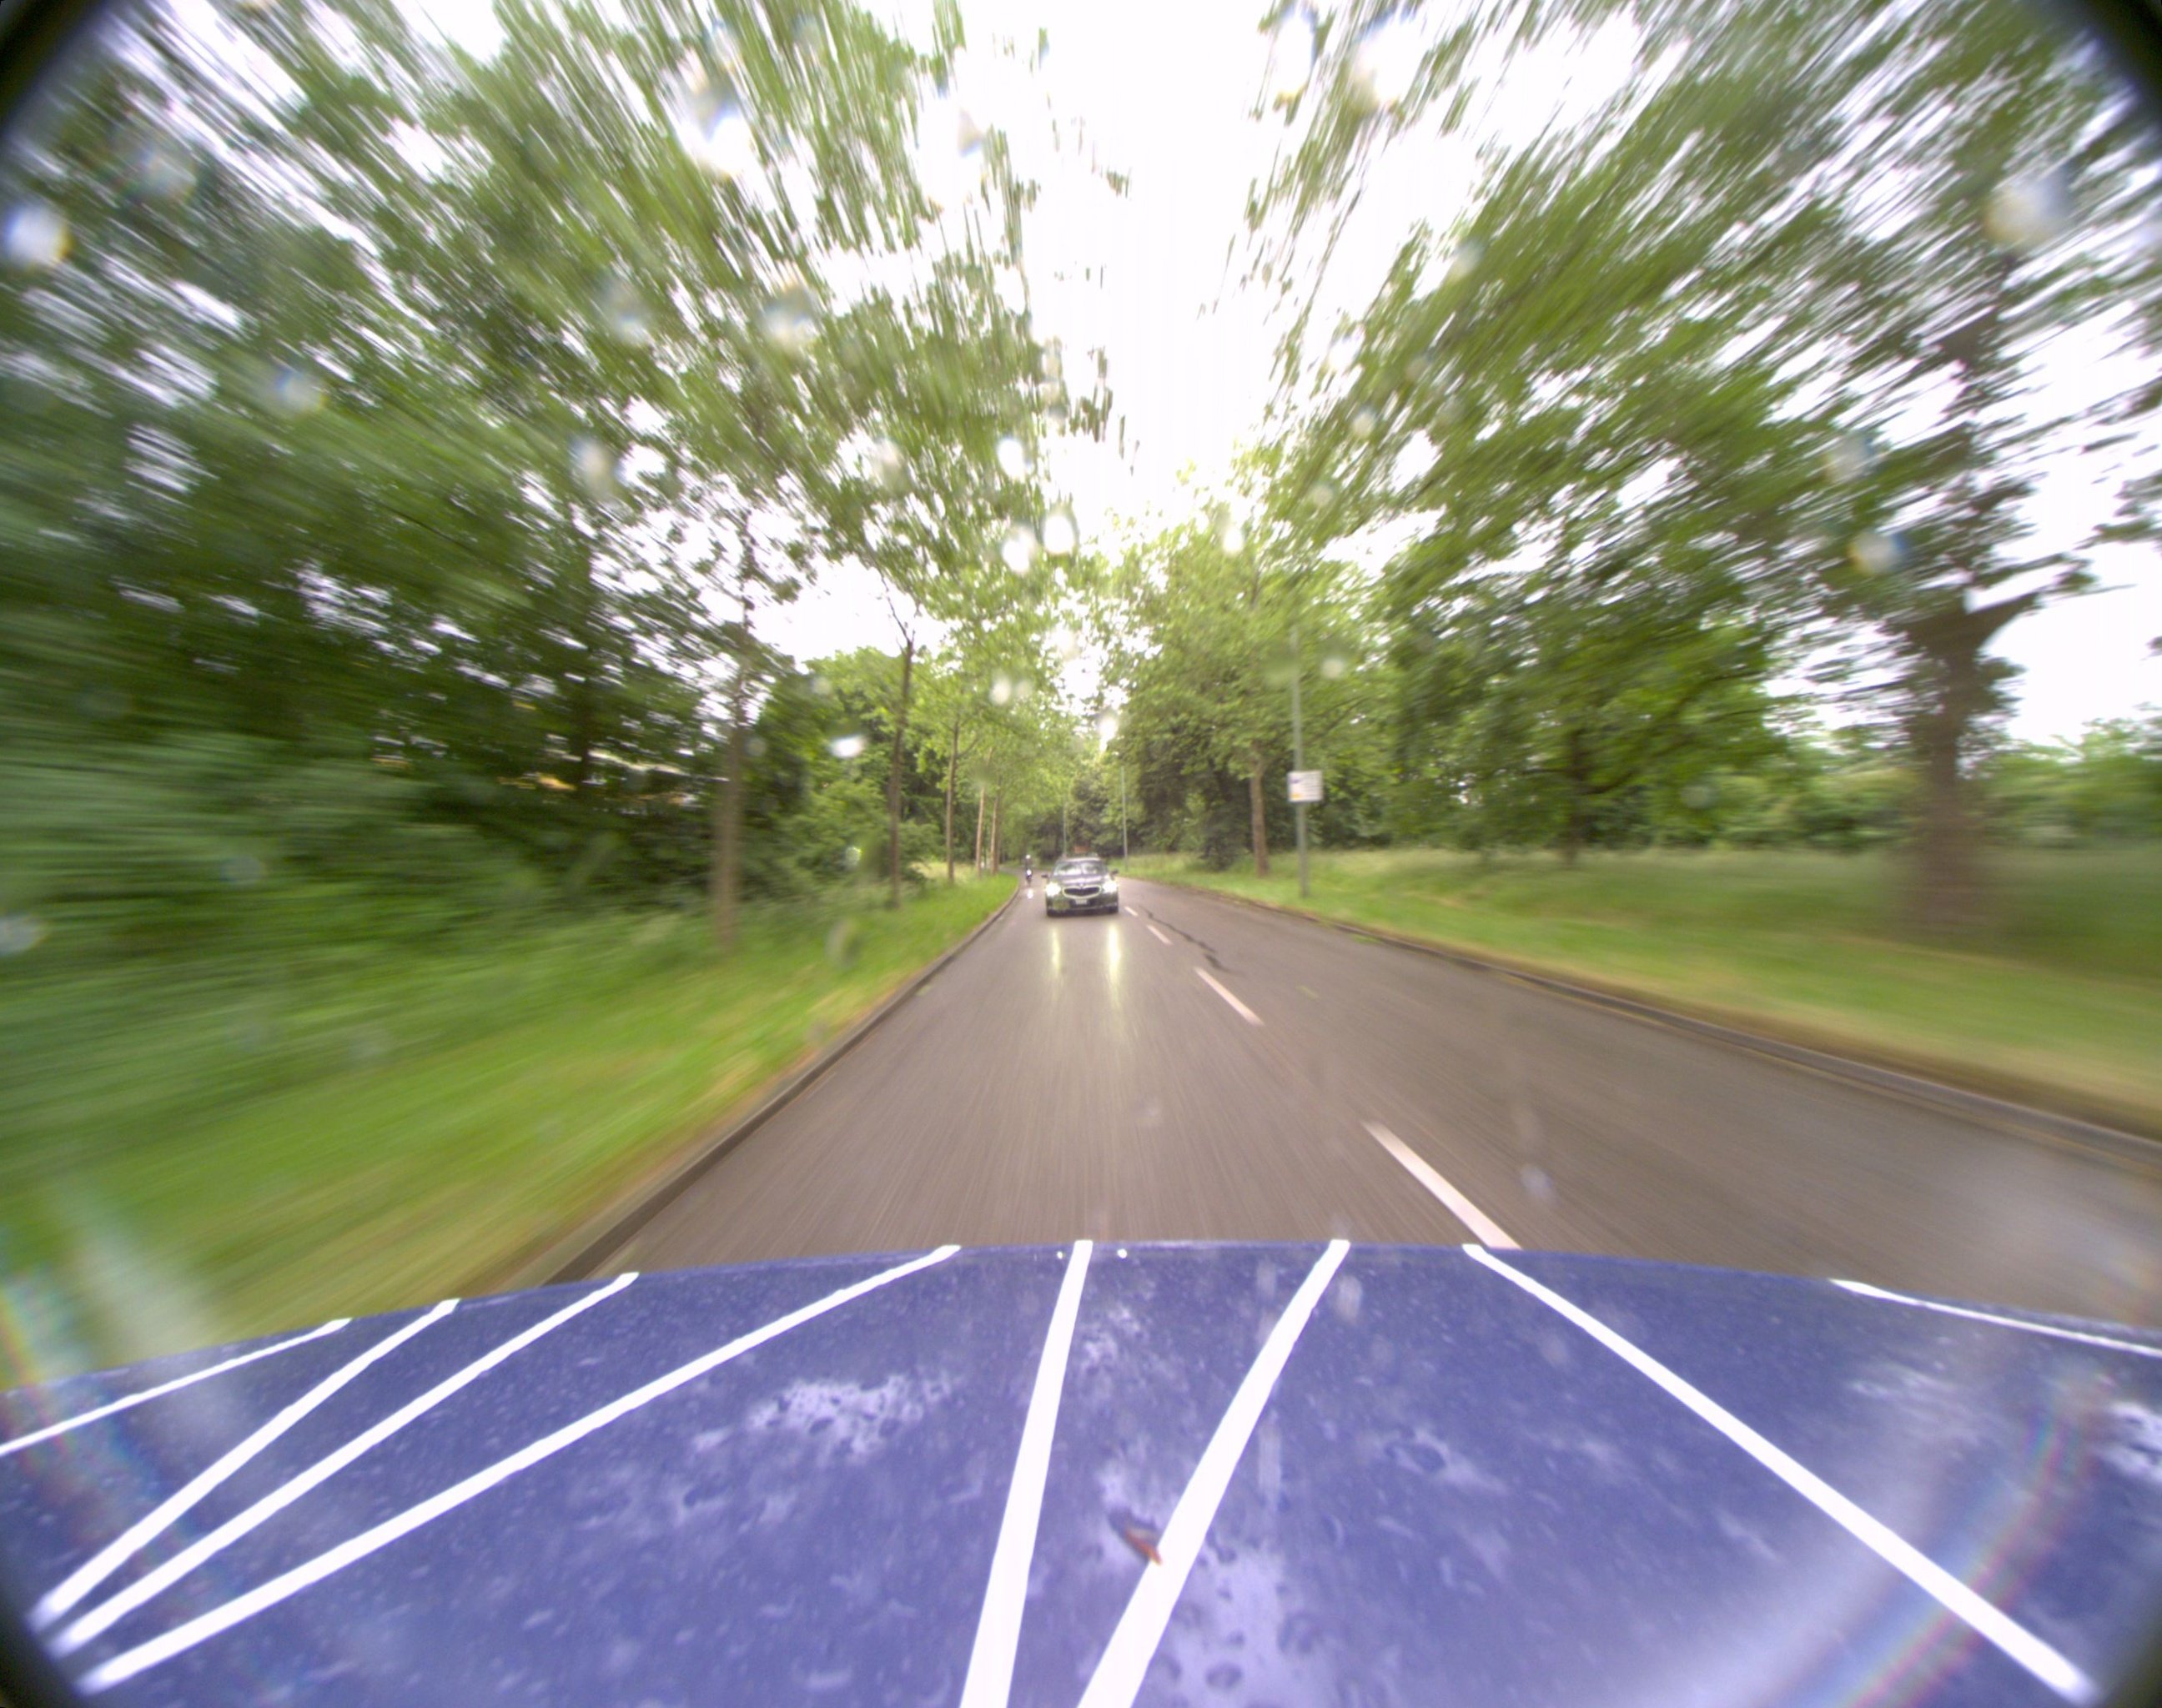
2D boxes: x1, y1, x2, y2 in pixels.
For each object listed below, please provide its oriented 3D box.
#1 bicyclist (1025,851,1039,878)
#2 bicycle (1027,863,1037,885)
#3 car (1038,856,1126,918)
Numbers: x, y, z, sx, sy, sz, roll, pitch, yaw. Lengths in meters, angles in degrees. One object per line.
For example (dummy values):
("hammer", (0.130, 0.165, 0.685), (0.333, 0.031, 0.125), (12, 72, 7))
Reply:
("bicyclist", (-2.755, 0.571, 42.888), (0.698, 1.489, 0.800), (-3, 1, -3))
("bicycle", (-2.746, 1.127, 42.912), (0.453, 1.127, 1.832), (-3, 1, -2))
("car", (-0.109, 0.873, 21.361), (1.844, 1.485, 4.899), (-1, -1, -7))
